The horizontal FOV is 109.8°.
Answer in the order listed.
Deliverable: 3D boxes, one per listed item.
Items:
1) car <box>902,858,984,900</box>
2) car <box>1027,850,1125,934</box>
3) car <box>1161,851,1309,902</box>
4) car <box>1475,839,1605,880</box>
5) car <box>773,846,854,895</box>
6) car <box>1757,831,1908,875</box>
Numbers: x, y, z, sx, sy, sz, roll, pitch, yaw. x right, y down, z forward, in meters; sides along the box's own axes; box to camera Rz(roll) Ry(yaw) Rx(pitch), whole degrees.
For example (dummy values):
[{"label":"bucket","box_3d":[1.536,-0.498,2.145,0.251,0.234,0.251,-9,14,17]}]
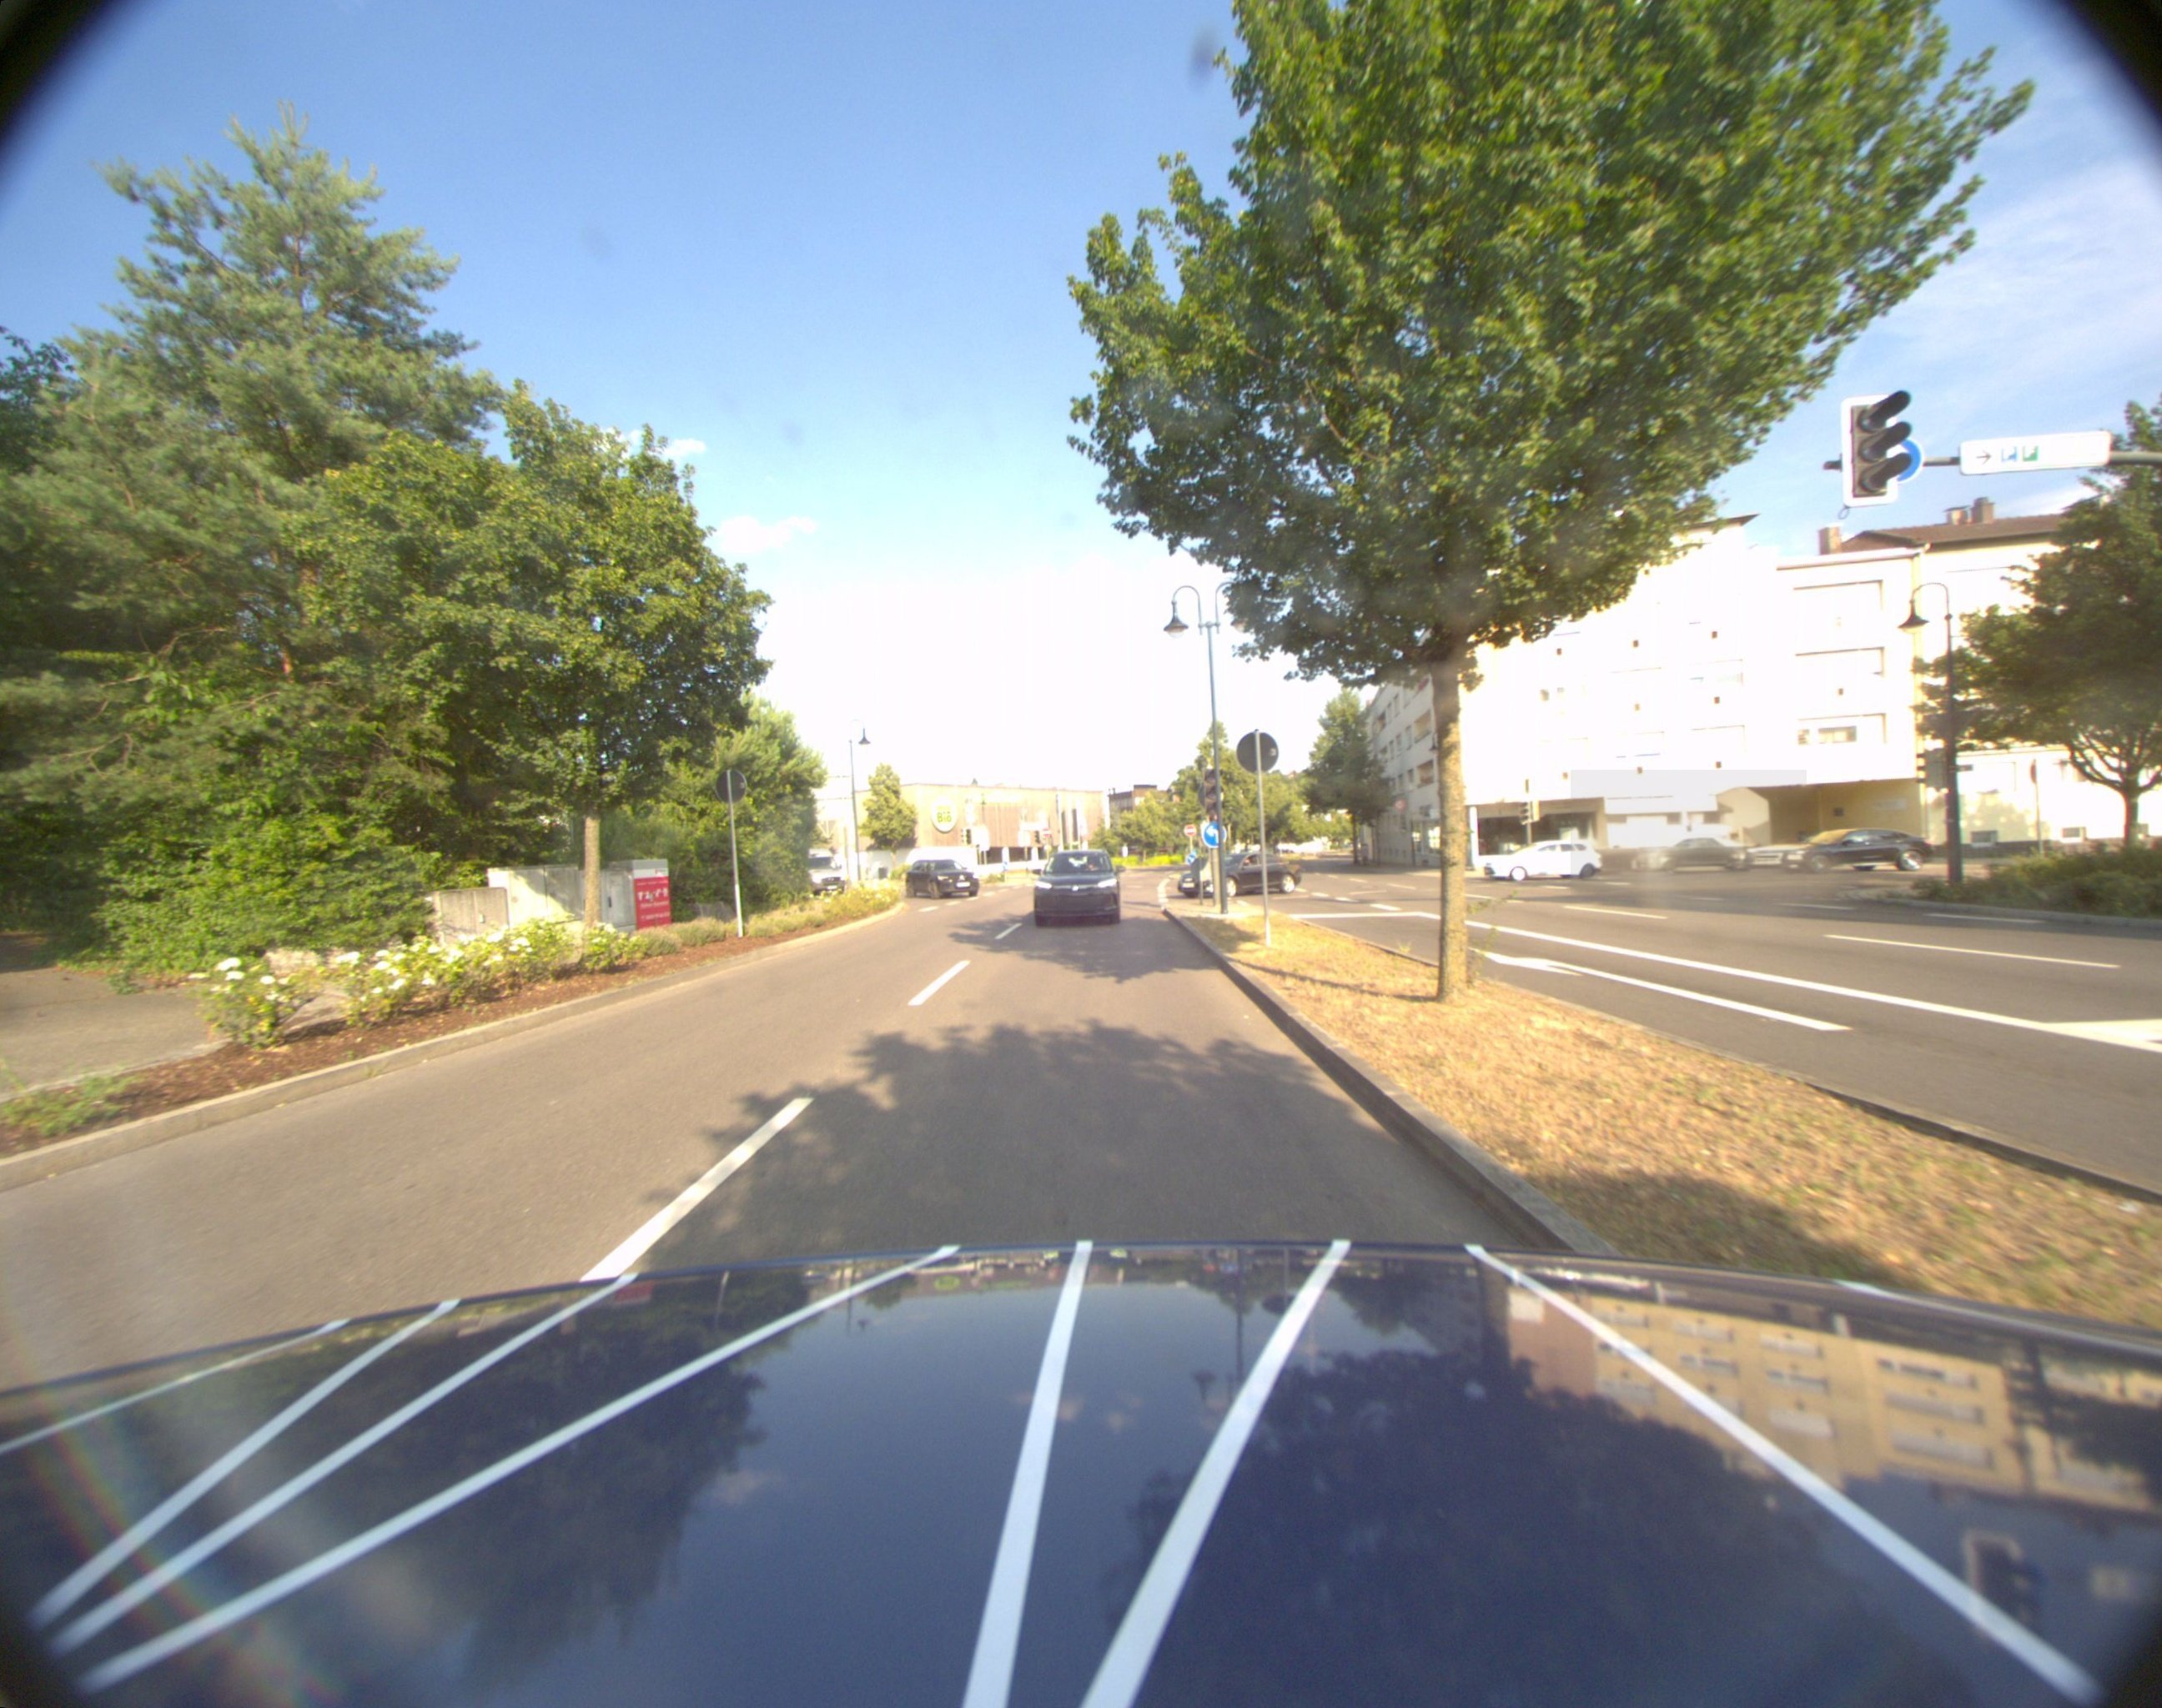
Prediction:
[{"label":"car","box_3d":[-5.719,0.995,31.121,1.795,1.558,4.261,-2,0,-32]},{"label":"car","box_3d":[0.017,0.757,17.408,1.724,1.605,4.262,-2,1,6]},{"label":"car","box_3d":[5.141,0.678,25.079,4.883,1.428,1.912,-2,1,-35]},{"label":"car","box_3d":[17.505,0.217,29.148,3.820,1.428,1.868,-2,1,7]},{"label":"car","box_3d":[-15.093,0.932,42.695,2.198,2.507,5.844,-2,0,-41]},{"label":"car","box_3d":[27.128,-0.038,27.529,3.587,1.428,1.749,-2,1,6]}]
